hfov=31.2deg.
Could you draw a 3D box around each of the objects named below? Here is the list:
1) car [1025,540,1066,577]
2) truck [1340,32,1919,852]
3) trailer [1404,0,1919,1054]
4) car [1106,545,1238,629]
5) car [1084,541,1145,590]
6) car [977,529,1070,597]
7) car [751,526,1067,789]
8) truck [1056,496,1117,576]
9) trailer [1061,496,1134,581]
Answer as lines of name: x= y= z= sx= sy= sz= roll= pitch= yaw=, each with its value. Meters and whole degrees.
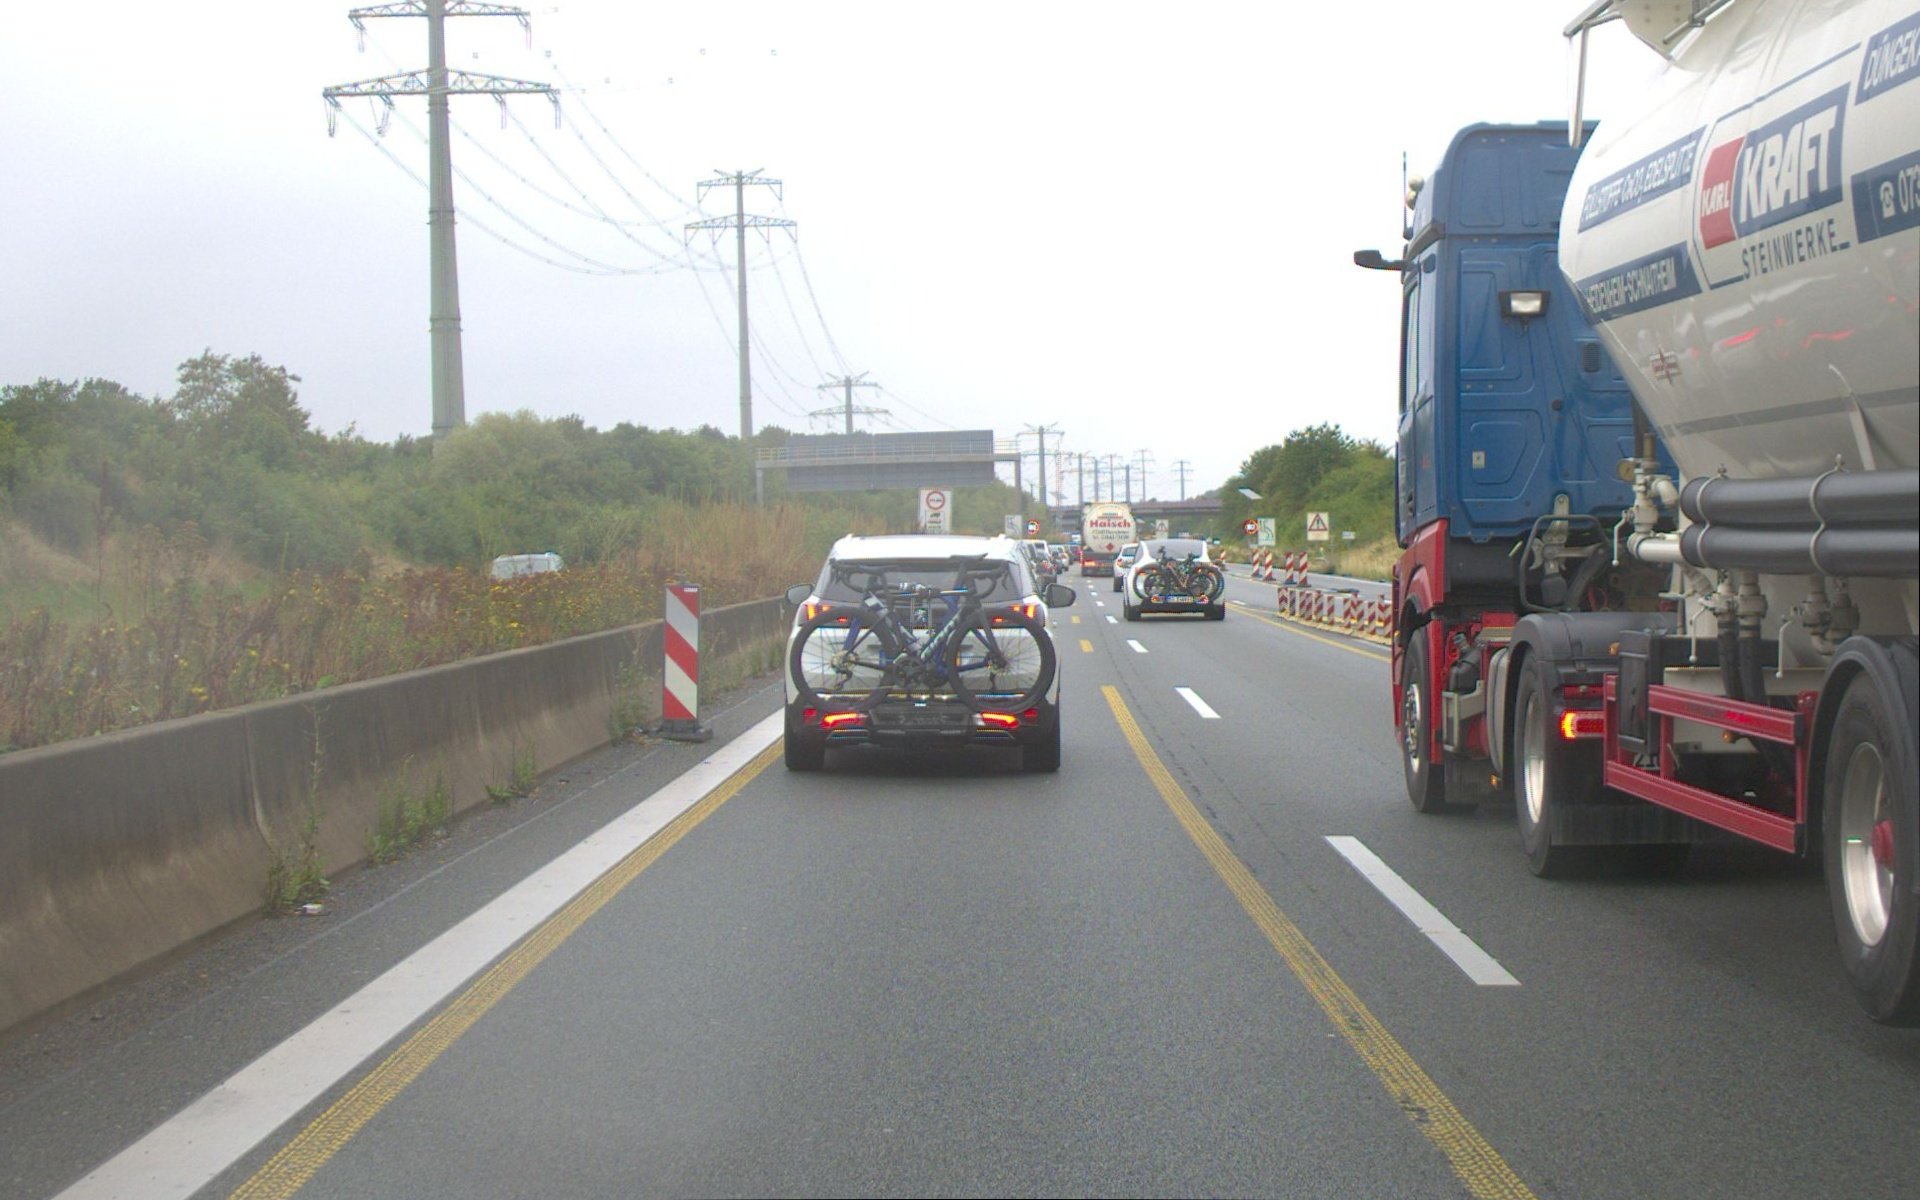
car: x=4.747 y=-2.312 z=191.451 sx=1.993 sy=2.007 sz=4.000 roll=1 pitch=0 yaw=-2
truck: x=3.589 y=-0.775 z=18.594 sx=2.547 sy=3.933 sz=4.000 roll=1 pitch=0 yaw=0
trailer: x=3.754 y=-0.732 z=12.498 sx=2.519 sy=3.821 sz=12.351 roll=1 pitch=0 yaw=-1
car: x=4.149 y=-0.292 z=68.251 sx=2.045 sy=1.590 sz=5.802 roll=1 pitch=1 yaw=-2
car: x=4.914 y=-1.123 z=109.896 sx=1.870 sy=1.529 sz=4.197 roll=0 pitch=1 yaw=1
car: x=1.492 y=-0.904 z=81.929 sx=1.993 sy=1.578 sz=4.001 roll=0 pitch=1 yaw=-2
car: x=-0.301 y=0.310 z=23.325 sx=1.928 sy=1.605 sz=4.595 roll=0 pitch=1 yaw=0
truck: x=6.212 y=-3.139 z=169.457 sx=2.644 sy=3.877 sz=4.030 roll=1 pitch=0 yaw=-2
trailer: x=6.456 y=-2.857 z=163.041 sx=2.637 sy=3.880 sz=10.544 roll=1 pitch=0 yaw=-2
